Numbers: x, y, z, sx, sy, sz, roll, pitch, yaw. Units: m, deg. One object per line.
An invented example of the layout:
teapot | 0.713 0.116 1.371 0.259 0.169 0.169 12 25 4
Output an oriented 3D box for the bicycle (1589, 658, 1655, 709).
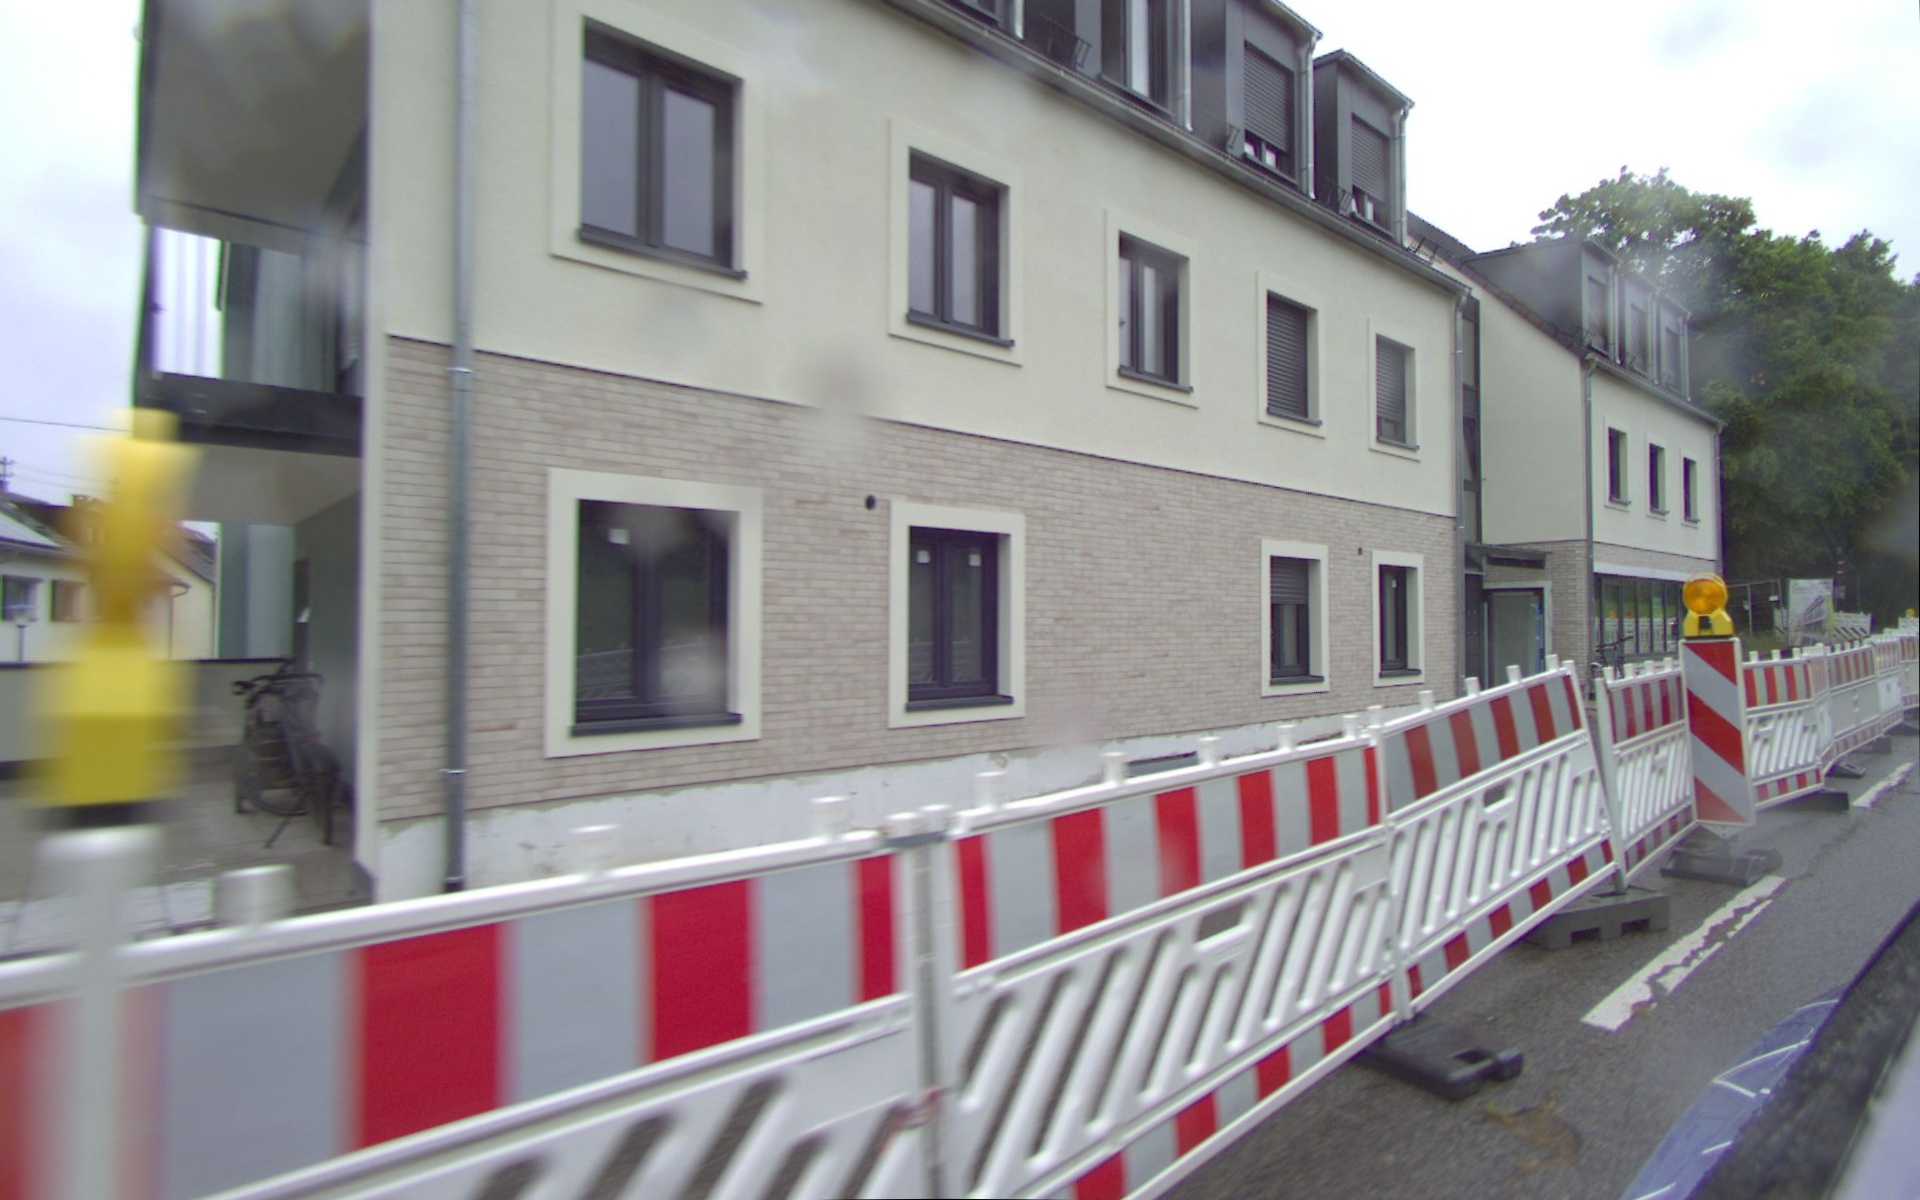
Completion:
bicycle | 11.285 1.396 17.223 1.710 0.705 0.497 0 4 -43
